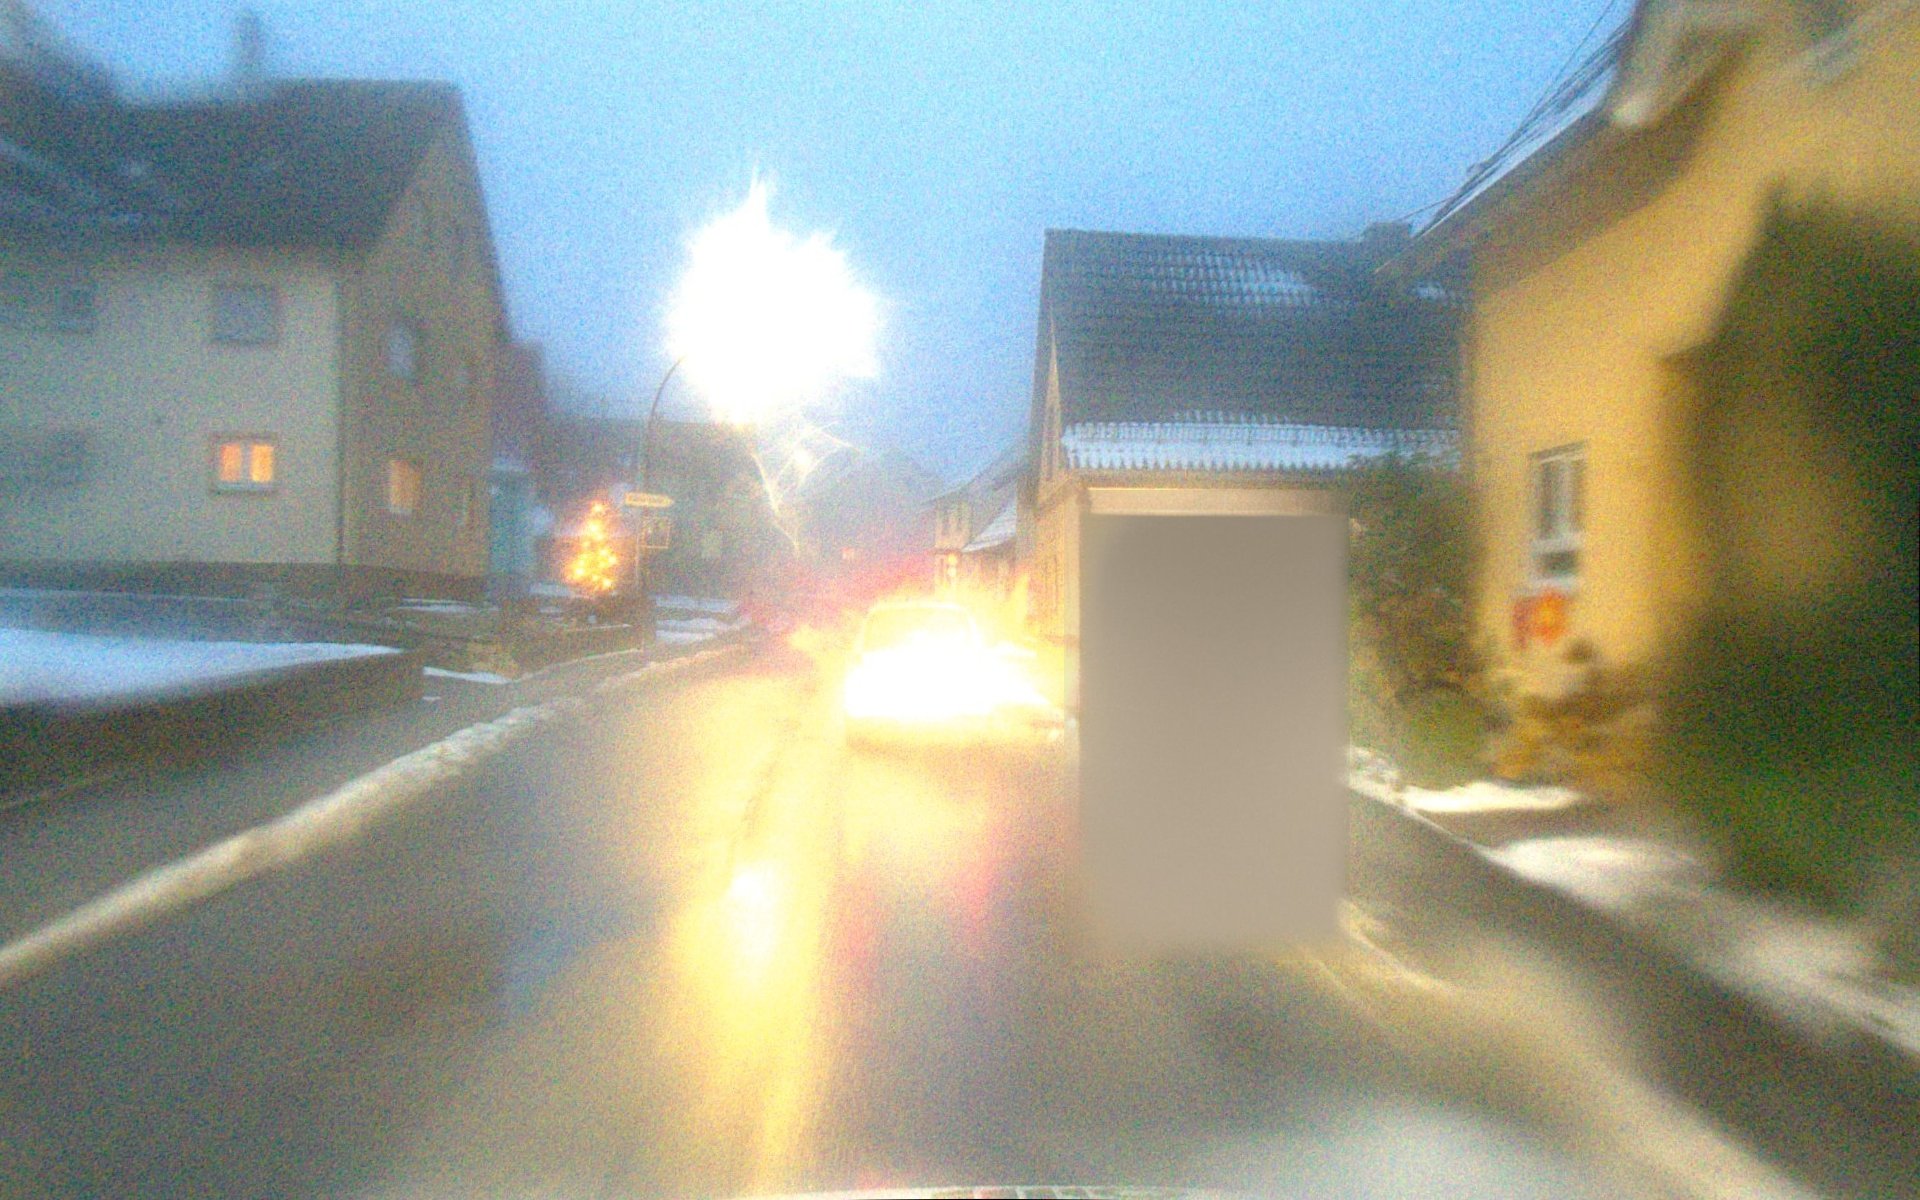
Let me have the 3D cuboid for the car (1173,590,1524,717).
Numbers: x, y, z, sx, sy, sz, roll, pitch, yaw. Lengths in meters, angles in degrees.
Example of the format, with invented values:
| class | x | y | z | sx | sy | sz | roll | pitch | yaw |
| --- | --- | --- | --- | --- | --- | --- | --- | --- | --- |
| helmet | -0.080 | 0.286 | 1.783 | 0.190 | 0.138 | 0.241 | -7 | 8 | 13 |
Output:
| class | x | y | z | sx | sy | sz | roll | pitch | yaw |
| --- | --- | --- | --- | --- | --- | --- | --- | --- | --- |
| car | 5.058 | 0.676 | 21.846 | 4.090 | 1.458 | 1.899 | 2 | 1 | -7 |

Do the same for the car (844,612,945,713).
| class | x | y | z | sx | sy | sz | roll | pitch | yaw |
| --- | --- | --- | --- | --- | --- | --- | --- | --- | --- |
| car | -1.185 | 1.067 | 29.476 | 1.612 | 1.624 | 3.697 | 2 | -1 | -3 |

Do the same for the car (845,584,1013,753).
| class | x | y | z | sx | sy | sz | roll | pitch | yaw |
| --- | --- | --- | --- | --- | --- | --- | --- | --- | --- |
| car | -0.424 | 0.709 | 18.319 | 1.613 | 1.624 | 3.696 | 2 | -1 | -4 |

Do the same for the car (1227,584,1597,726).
| class | x | y | z | sx | sy | sz | roll | pitch | yaw |
| --- | --- | --- | --- | --- | --- | --- | --- | --- | --- |
| car | 5.083 | 0.597 | 18.881 | 3.670 | 1.523 | 1.819 | 1 | 0 | -8 |
